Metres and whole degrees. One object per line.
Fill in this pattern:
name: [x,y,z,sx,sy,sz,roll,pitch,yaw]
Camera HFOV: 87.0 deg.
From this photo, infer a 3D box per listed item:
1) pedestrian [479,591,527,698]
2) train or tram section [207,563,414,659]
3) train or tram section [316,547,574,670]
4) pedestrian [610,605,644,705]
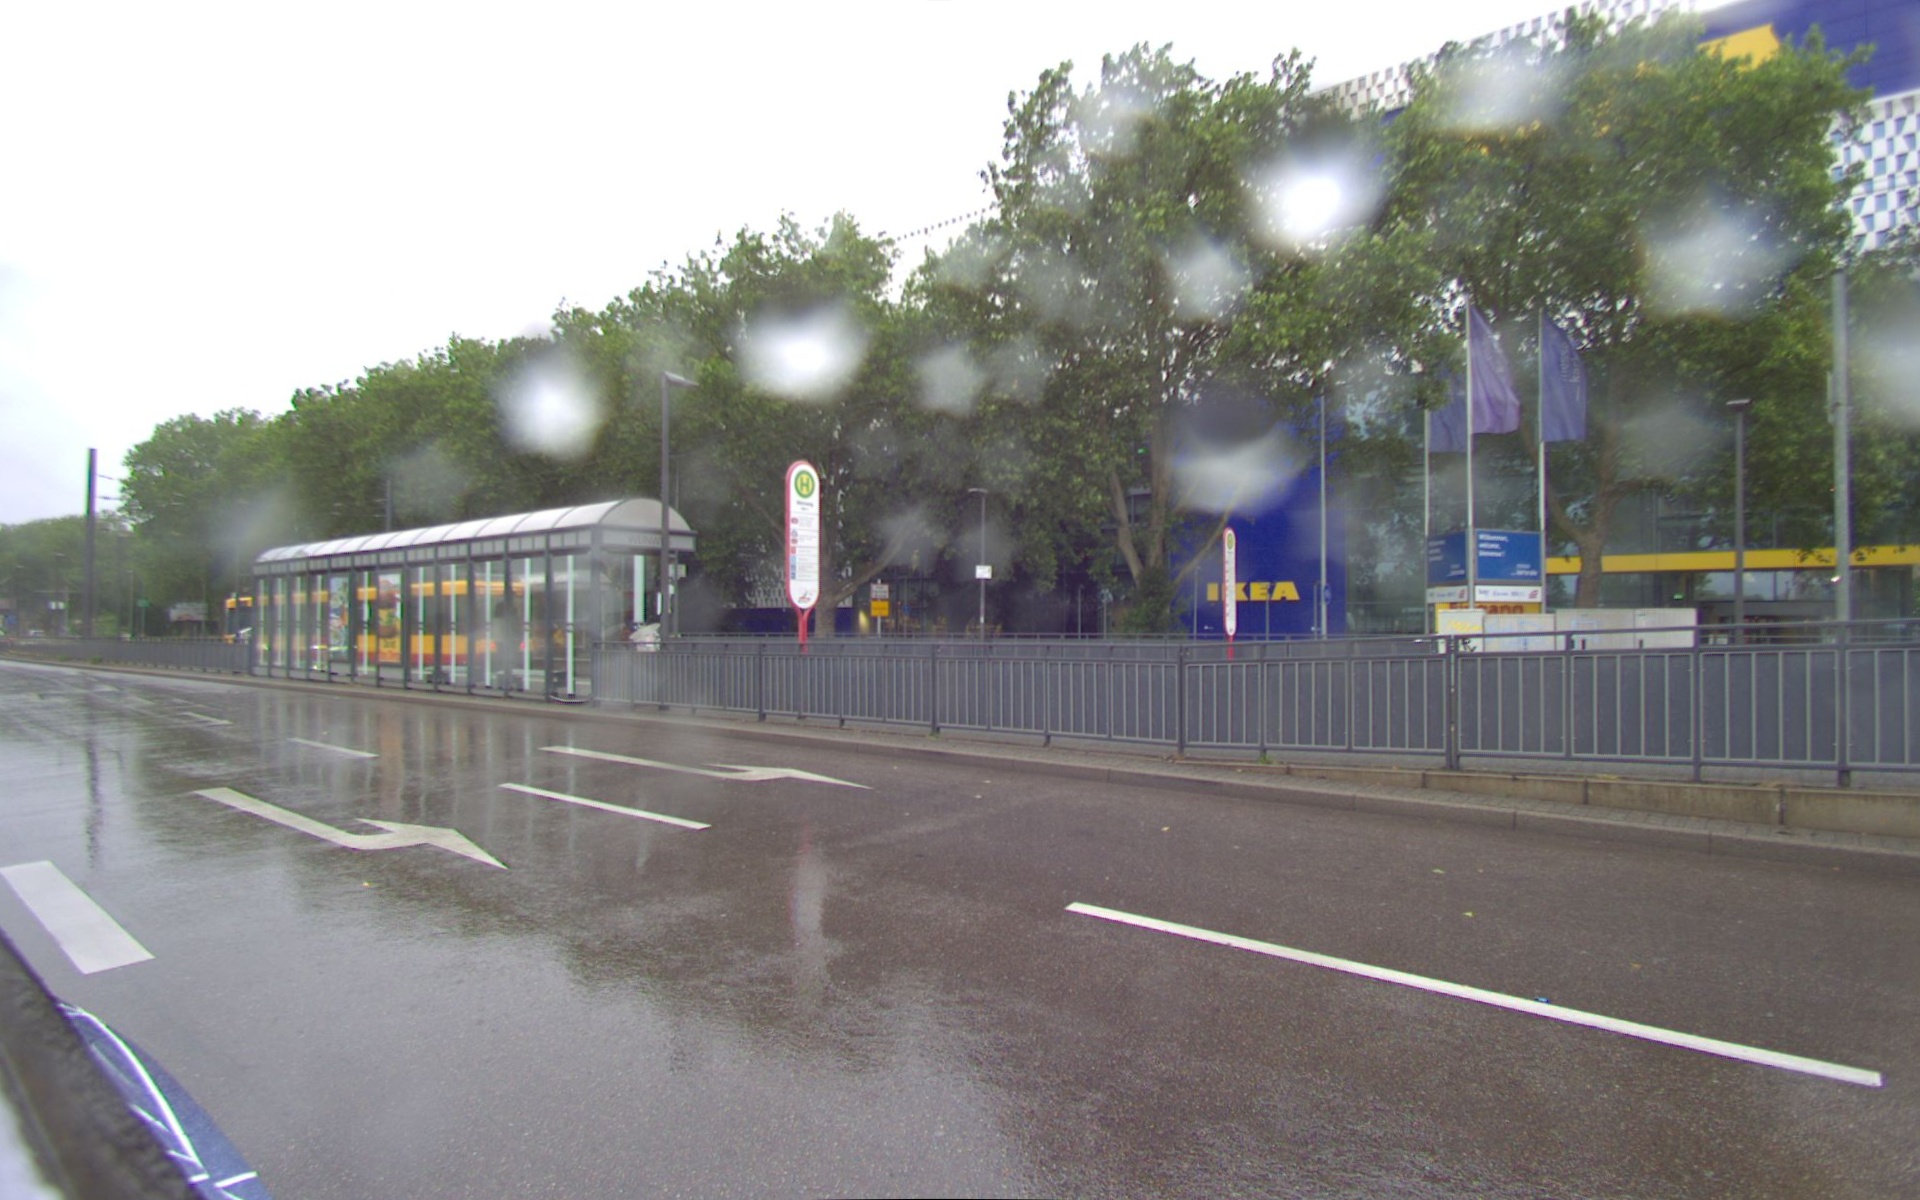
pedestrian: [-8.325,0.791,18.430,0.646,1.885,0.774,-1,0,-33]
train or tram section: [-30.494,0.520,46.949,15.560,3.827,3.703,-1,0,40]
train or tram section: [-19.512,0.331,37.597,13.245,3.868,3.703,-1,0,40]
pedestrian: [-5.138,0.841,15.613,0.317,1.504,0.416,-2,1,-44]
